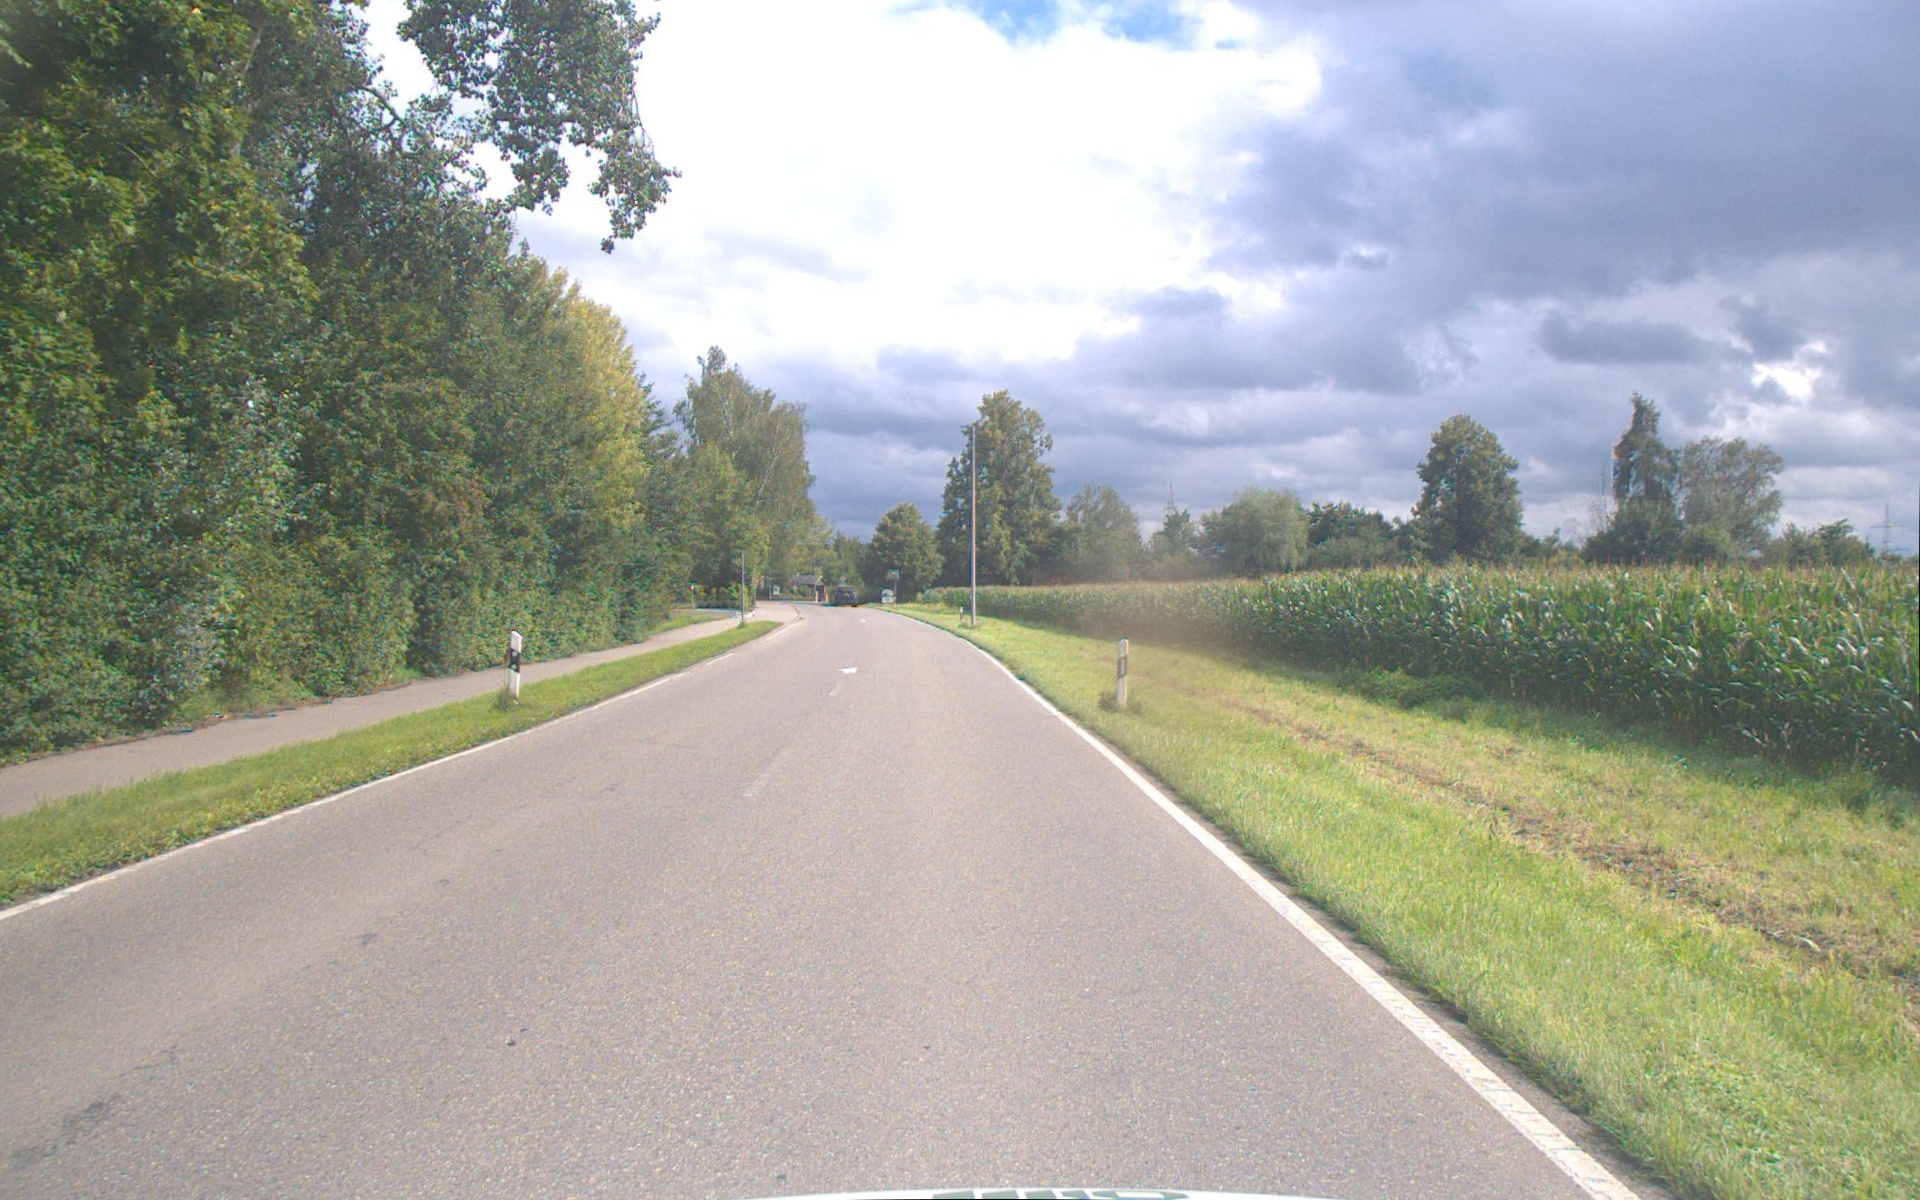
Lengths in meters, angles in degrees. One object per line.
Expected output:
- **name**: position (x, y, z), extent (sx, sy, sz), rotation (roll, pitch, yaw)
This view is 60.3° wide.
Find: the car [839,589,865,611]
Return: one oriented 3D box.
- **car**: position (-8.645, -0.003, 132.089), extent (1.955, 1.612, 3.996), rotation (2, 0, -5)
